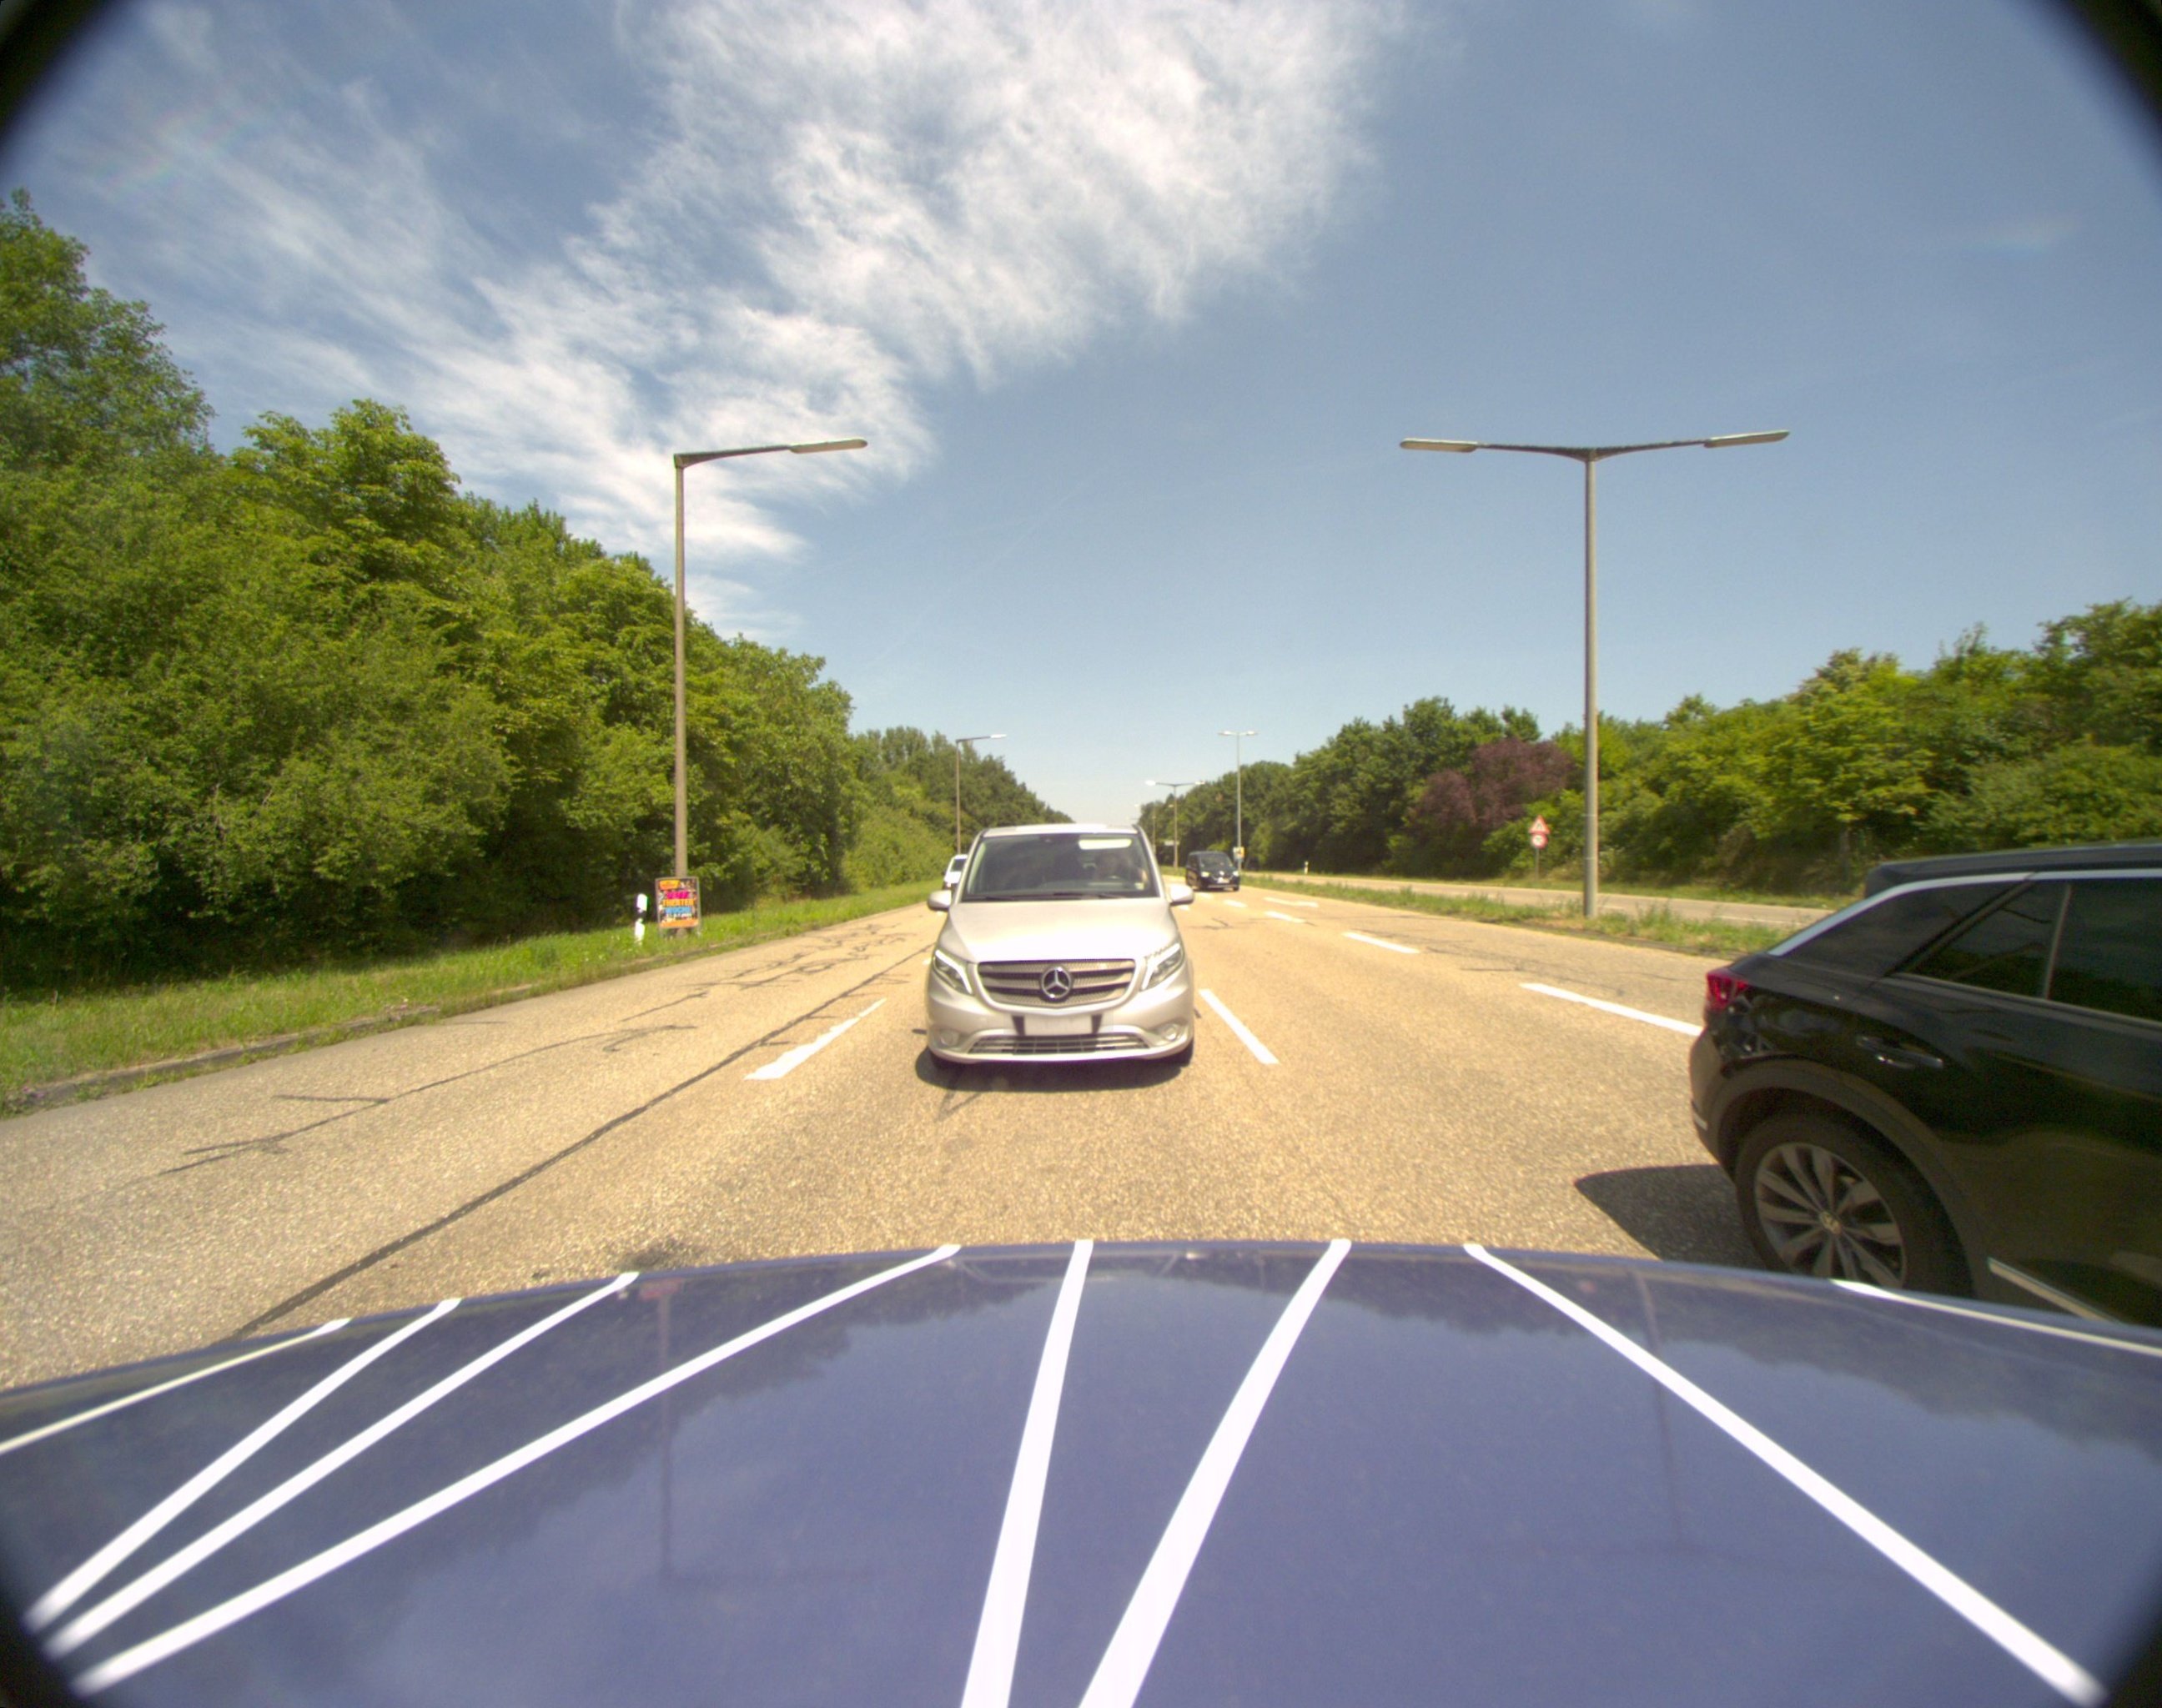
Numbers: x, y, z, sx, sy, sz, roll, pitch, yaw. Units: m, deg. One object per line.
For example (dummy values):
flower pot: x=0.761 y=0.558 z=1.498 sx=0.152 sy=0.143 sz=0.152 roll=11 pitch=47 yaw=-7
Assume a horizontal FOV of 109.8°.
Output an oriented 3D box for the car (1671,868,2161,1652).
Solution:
car: x=3.039 y=0.855 z=0.817 sx=1.739 sy=1.503 sz=3.970 roll=-2 pitch=1 yaw=1

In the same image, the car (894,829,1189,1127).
car: x=-0.211 y=0.772 z=7.143 sx=1.764 sy=1.794 sz=4.855 roll=-2 pitch=0 yaw=1

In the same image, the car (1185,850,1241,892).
car: x=5.985 y=0.742 z=34.965 sx=1.736 sy=1.815 sz=4.321 roll=-1 pitch=0 yaw=-1

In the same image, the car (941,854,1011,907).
car: x=-3.919 y=0.928 z=29.093 sx=1.865 sy=1.807 sz=4.908 roll=-2 pitch=0 yaw=1
